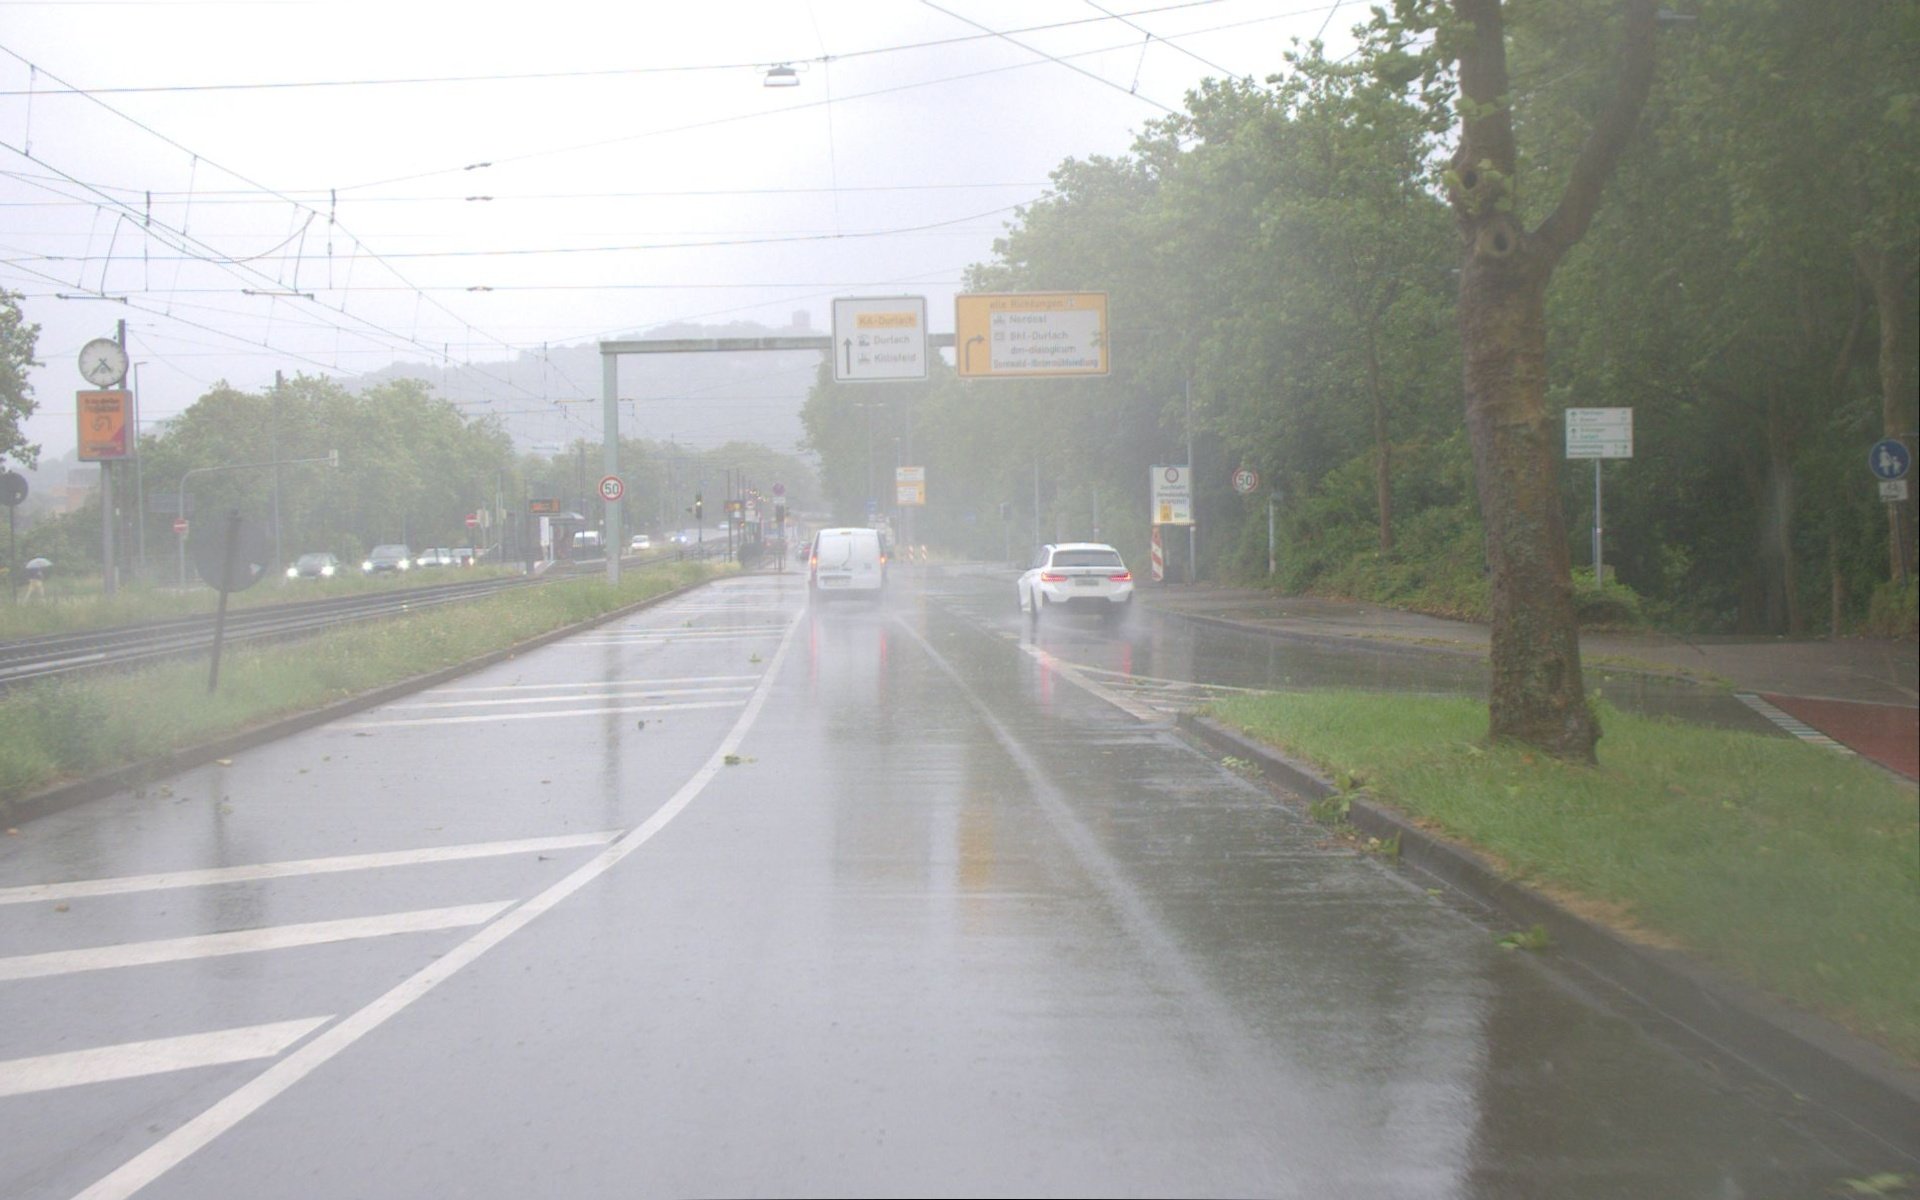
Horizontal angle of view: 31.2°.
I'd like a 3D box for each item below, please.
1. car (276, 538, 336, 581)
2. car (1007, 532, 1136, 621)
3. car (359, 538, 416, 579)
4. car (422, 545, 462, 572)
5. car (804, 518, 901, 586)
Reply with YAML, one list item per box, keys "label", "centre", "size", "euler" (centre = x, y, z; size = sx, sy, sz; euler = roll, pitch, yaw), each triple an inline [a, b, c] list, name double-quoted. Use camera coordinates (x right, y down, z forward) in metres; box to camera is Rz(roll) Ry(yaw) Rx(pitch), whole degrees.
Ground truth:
- label: "car"
  centre: [-26.940, -1.675, 141.707]
  size: [1.943, 1.680, 4.781]
  euler: [-1, 1, -5]
- label: "car"
  centre: [1.978, -0.452, 62.190]
  size: [1.948, 1.531, 4.467]
  euler: [-1, 1, -3]
- label: "car"
  centre: [-23.365, -1.698, 140.445]
  size: [1.943, 1.610, 4.990]
  euler: [-1, 1, -6]
- label: "car"
  centre: [-28.341, -2.277, 188.180]
  size: [1.720, 1.489, 4.001]
  euler: [-1, 1, -3]
- label: "car"
  centre: [-2.406, -1.079, 76.558]
  size: [2.077, 1.415, 4.000]
  euler: [-2, 1, -2]
